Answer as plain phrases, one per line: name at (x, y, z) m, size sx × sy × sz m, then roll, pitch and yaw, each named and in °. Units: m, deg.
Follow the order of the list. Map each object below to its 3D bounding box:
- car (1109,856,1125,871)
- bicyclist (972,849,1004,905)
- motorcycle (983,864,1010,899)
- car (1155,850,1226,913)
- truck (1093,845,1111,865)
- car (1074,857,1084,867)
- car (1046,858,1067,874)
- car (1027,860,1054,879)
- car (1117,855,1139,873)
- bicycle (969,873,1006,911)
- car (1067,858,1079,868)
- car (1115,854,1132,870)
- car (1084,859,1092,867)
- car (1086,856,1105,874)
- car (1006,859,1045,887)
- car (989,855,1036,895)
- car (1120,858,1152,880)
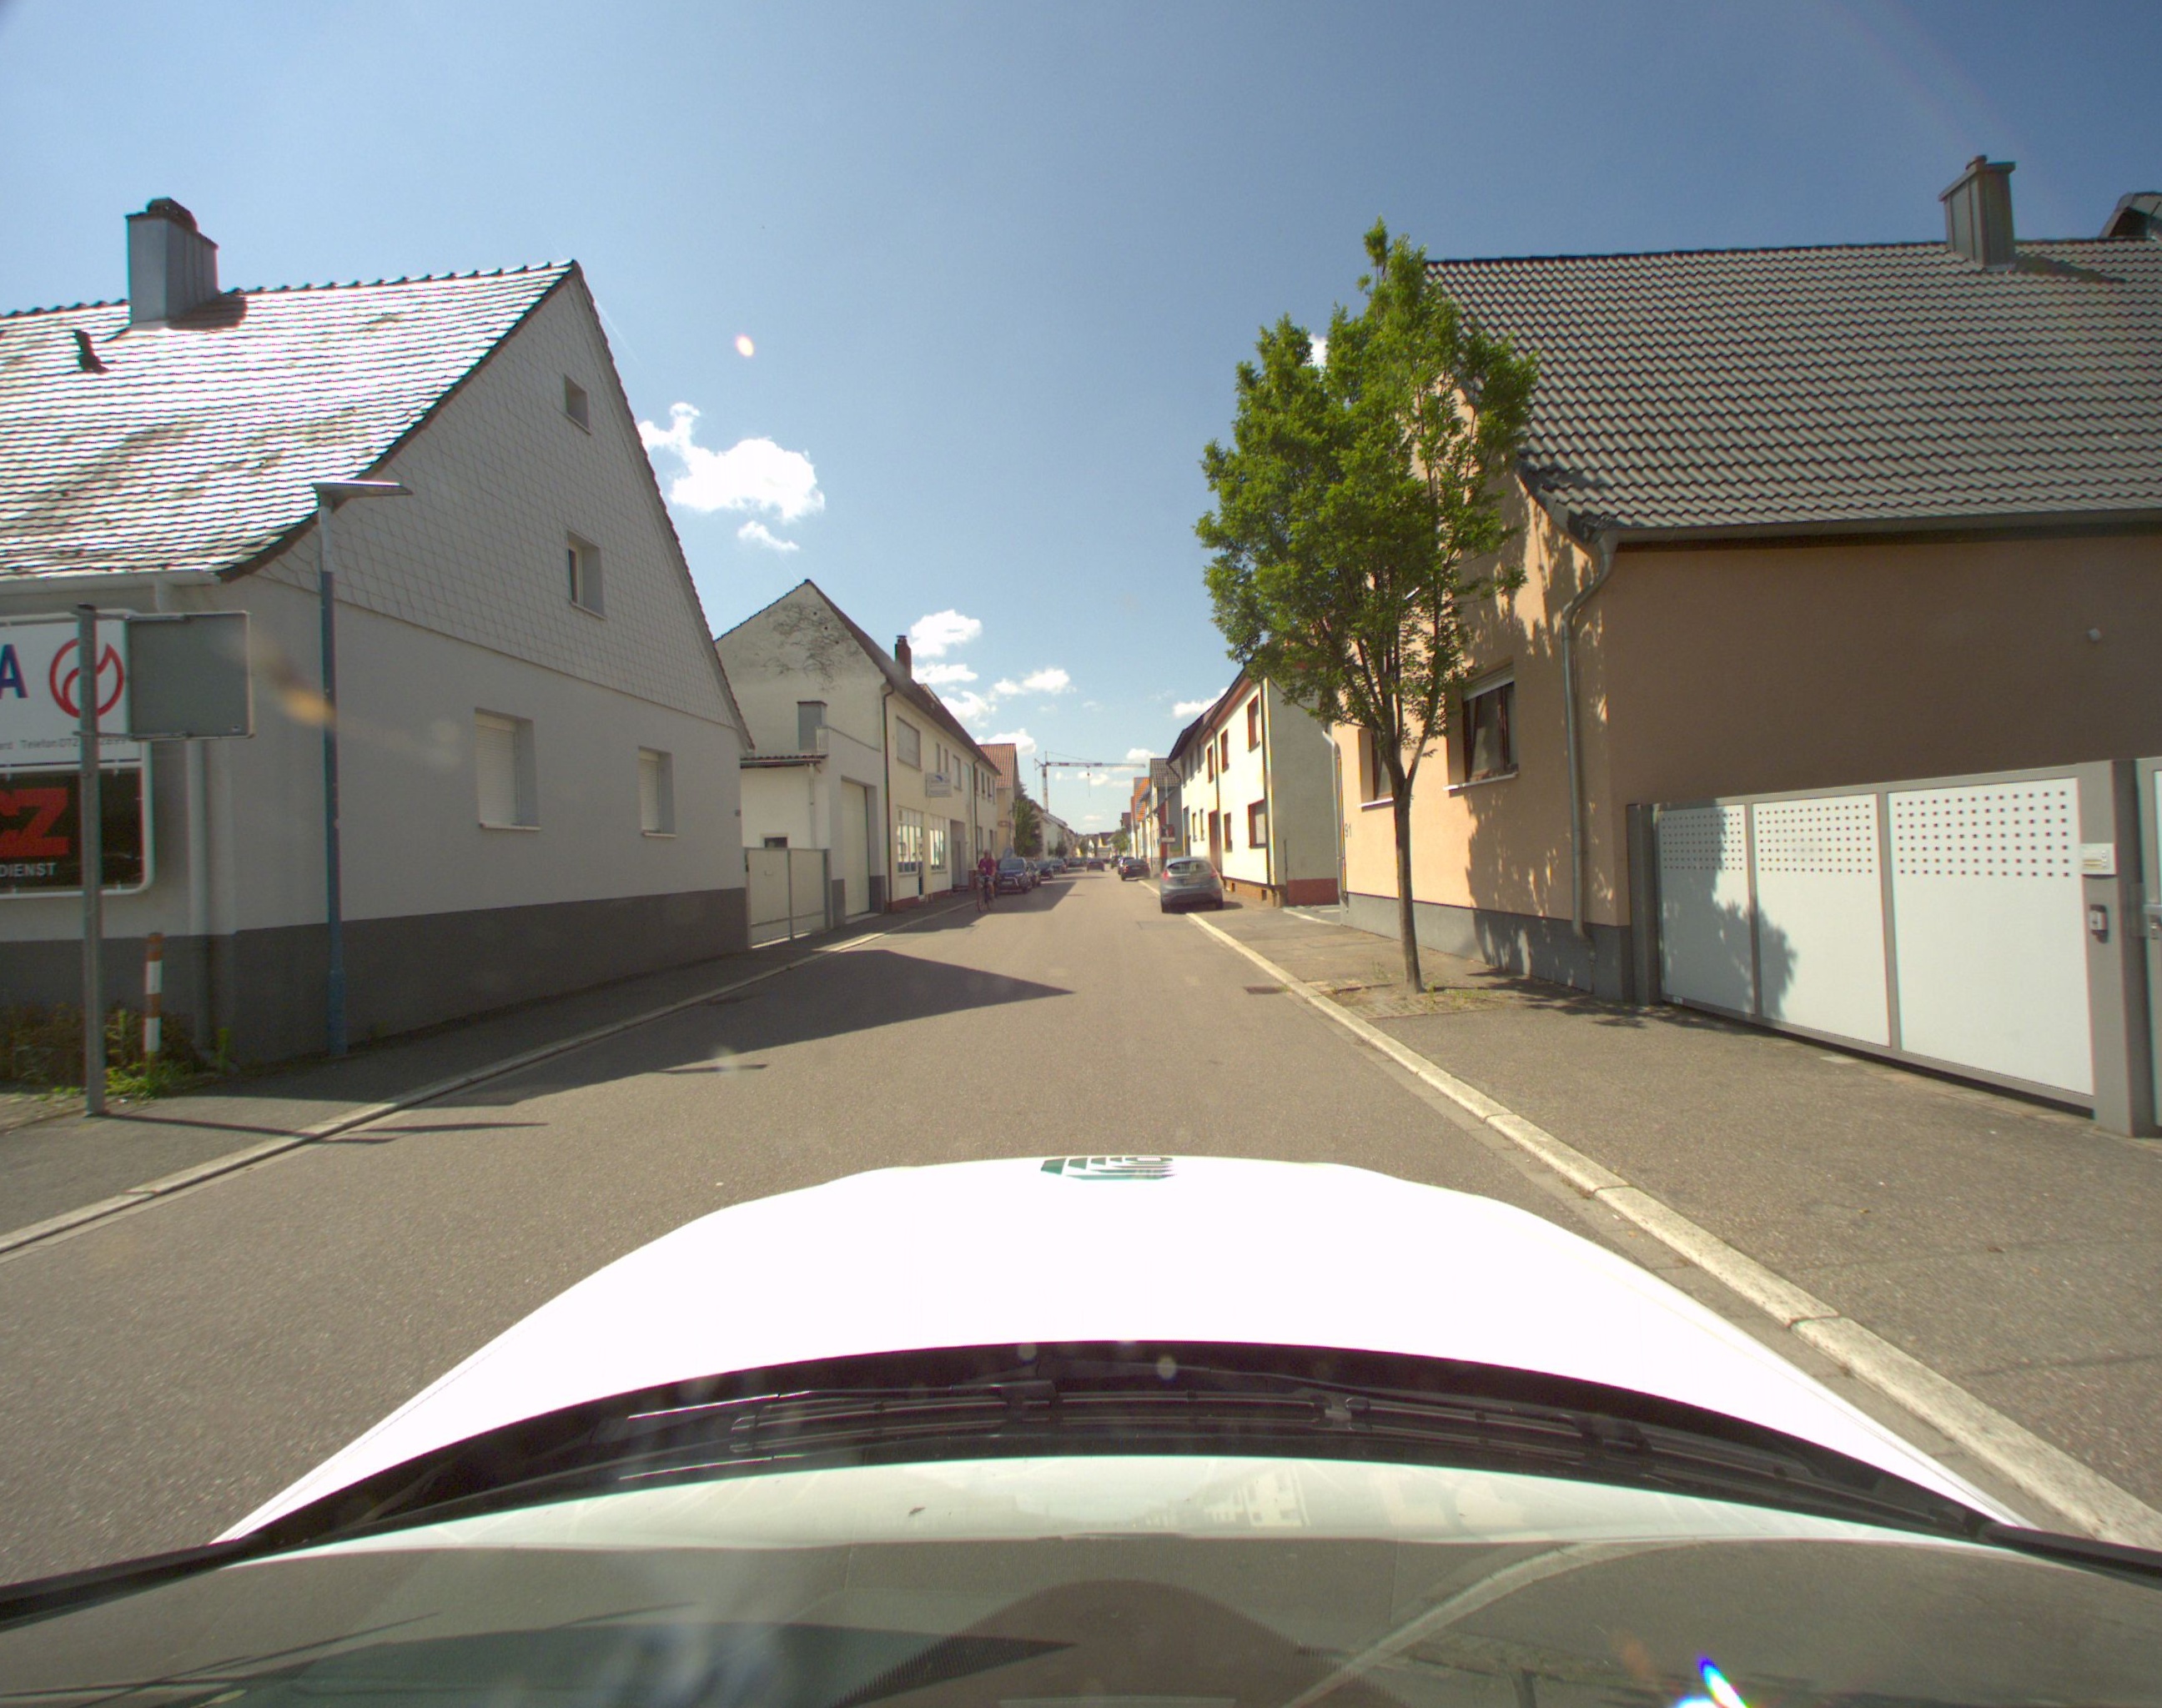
car at (4.410, 1.178, 100.506) m, size 1.723 × 1.717 × 4.274 m, roll -2°, pitch 0°, yaw -1°
bicyclist at (-2.827, 0.689, 24.814) m, size 0.743 × 1.637 × 0.957 m, roll -1°, pitch 0°, yaw 4°
motorcycle at (-3.454, 1.106, 33.299) m, size 0.805 × 1.312 × 2.106 m, roll -2°, pitch 0°, yaw 1°
car at (3.036, 0.719, 23.130) m, size 1.713 × 1.481 × 3.755 m, roll -5°, pitch 0°, yaw 5°
truck at (4.459, 0.261, 175.030) m, size 3.368 × 3.865 × 13.923 m, roll -3°, pitch -1°, yaw 0°
car at (-0.311, 1.394, 139.757) m, size 1.647 × 1.609 × 4.061 m, roll -3°, pitch 0°, yaw 1°
car at (-2.498, 1.227, 83.151) m, size 1.761 × 1.460 × 4.440 m, roll -2°, pitch 0°, yaw 3°
car at (-3.089, 1.150, 62.195) m, size 1.755 × 1.374 × 4.067 m, roll -1°, pitch 0°, yaw 1°
car at (3.907, 0.808, 68.636) m, size 1.682 × 1.422 × 3.658 m, roll -2°, pitch 0°, yaw 1°
bicycle at (-2.819, 1.144, 24.743) m, size 0.739 × 1.047 × 1.942 m, roll -1°, pitch 0°, yaw 5°
car at (-1.278, 1.419, 132.589) m, size 1.752 × 1.525 × 4.289 m, roll -3°, pitch 0°, yaw 1°
car at (4.613, 0.852, 88.065) m, size 1.611 × 1.495 × 3.972 m, roll -5°, pitch 0°, yaw 1°
car at (1.561, 1.993, 178.998) m, size 1.716 × 1.555 × 4.174 m, roll -1°, pitch 0°, yaw 2°
car at (1.506, 1.102, 85.315) m, size 1.777 × 1.753 × 4.000 m, roll -3°, pitch -1°, yaw 0°
car at (-2.989, 1.019, 44.681) m, size 1.691 × 1.411 × 4.391 m, roll -2°, pitch 0°, yaw 1°
car at (-3.136, 0.932, 37.836) m, size 1.712 × 1.639 × 4.148 m, roll -4°, pitch 0°, yaw 0°
car at (3.432, 0.897, 51.542) m, size 1.809 × 1.276 × 4.148 m, roll -2°, pitch 0°, yaw 2°
